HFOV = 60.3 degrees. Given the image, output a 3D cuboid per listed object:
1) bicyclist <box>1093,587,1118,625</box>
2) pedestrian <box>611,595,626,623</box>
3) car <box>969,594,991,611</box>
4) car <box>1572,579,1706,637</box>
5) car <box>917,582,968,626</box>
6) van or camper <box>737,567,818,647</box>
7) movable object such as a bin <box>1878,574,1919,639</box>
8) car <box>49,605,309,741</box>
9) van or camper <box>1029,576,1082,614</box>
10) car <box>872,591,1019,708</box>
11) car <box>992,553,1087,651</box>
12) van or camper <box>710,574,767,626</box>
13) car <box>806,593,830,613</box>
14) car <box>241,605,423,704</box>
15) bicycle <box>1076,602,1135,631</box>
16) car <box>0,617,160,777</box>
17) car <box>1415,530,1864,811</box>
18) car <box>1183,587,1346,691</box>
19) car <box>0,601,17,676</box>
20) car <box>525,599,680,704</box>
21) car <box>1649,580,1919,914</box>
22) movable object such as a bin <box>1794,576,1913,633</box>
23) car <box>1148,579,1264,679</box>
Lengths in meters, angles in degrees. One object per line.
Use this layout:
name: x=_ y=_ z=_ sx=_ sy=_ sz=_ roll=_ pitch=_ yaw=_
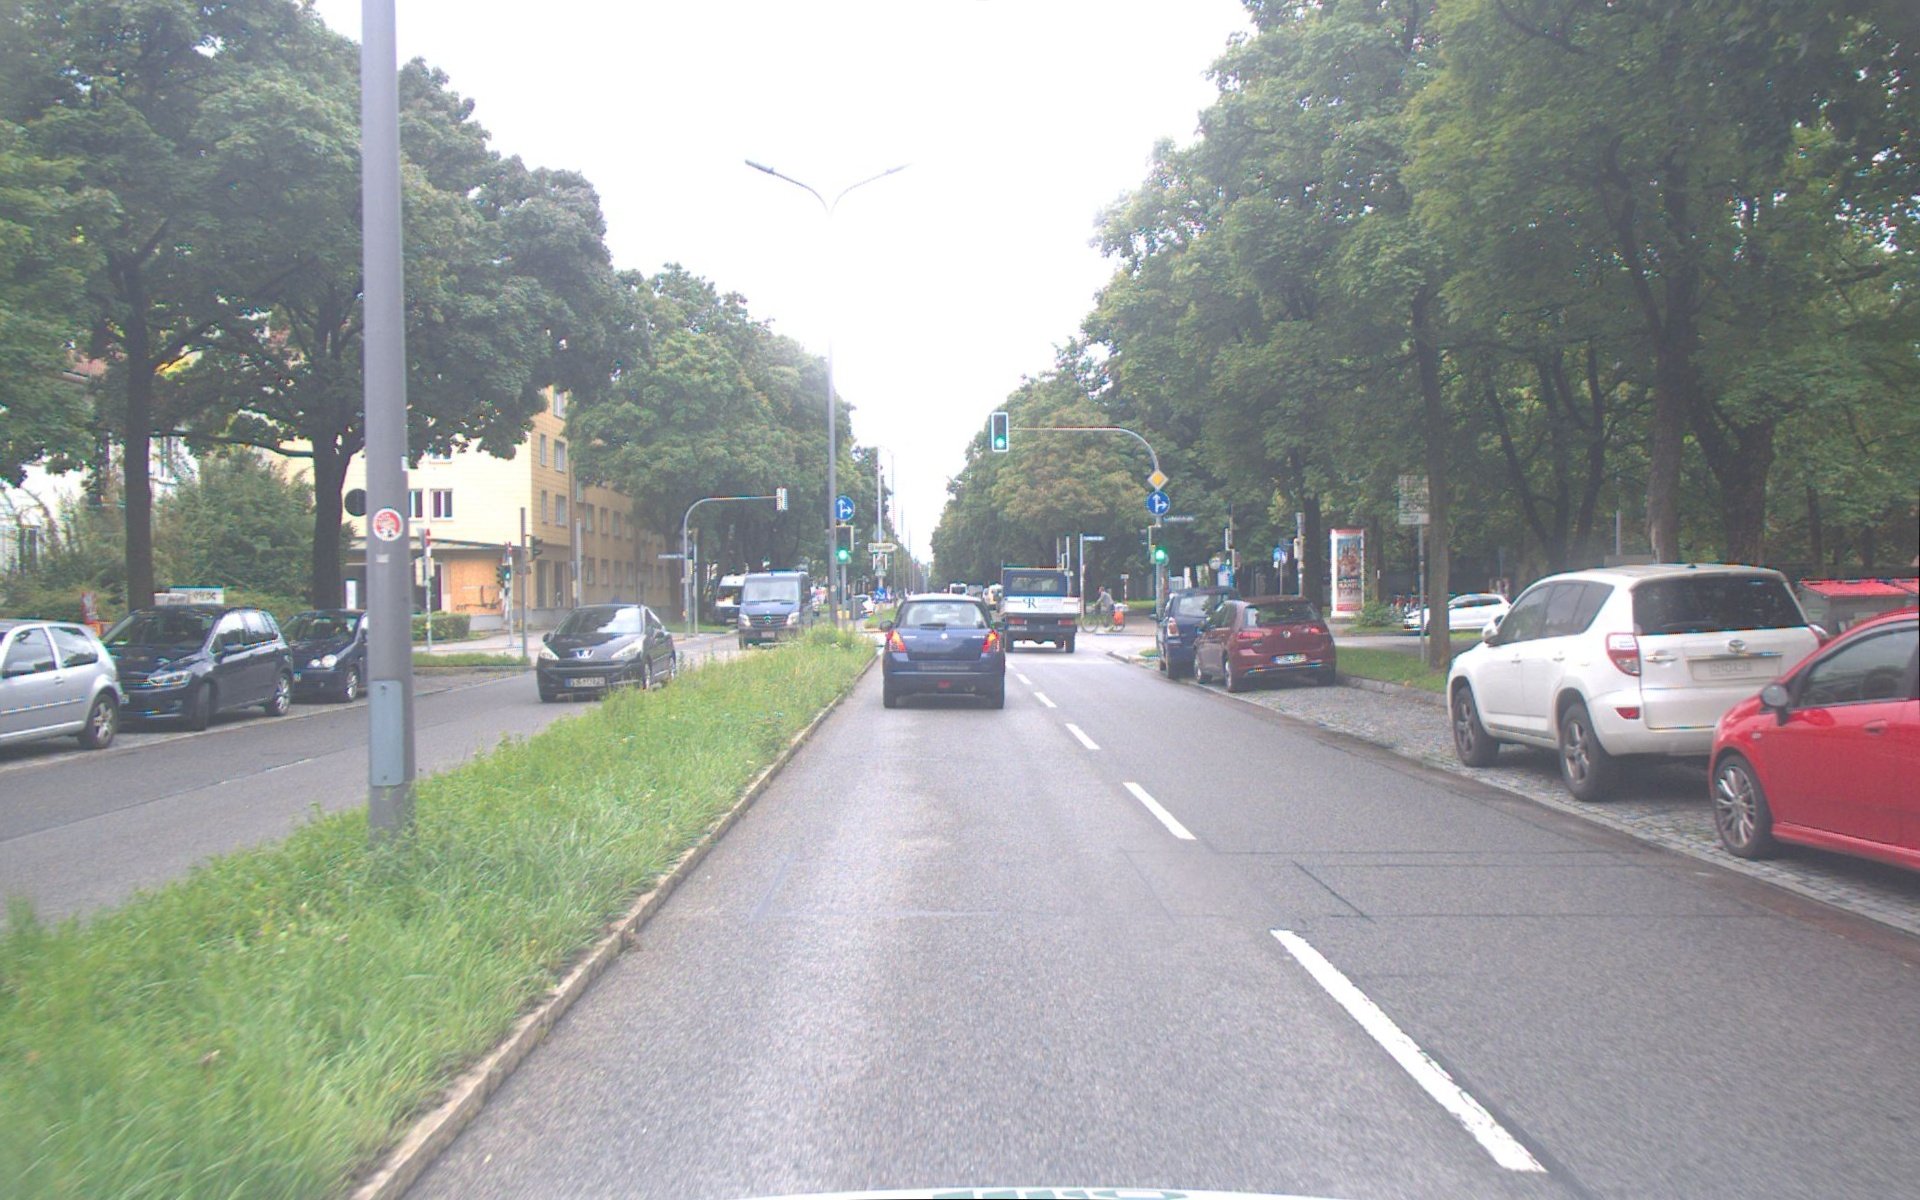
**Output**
bicyclist: x=5.797 y=0.233 z=66.087 sx=0.911 sy=1.505 sz=0.990 roll=0 pitch=0 yaw=0
pedestrian: x=-18.160 y=0.472 z=87.940 sx=0.616 sy=1.465 sz=0.806 roll=1 pitch=0 yaw=-1
car: x=1.877 y=0.232 z=155.791 sx=1.751 sy=1.525 sz=3.657 roll=0 pitch=0 yaw=-4
car: x=23.466 y=0.251 z=57.310 sx=3.799 sy=1.638 sz=1.934 roll=-5 pitch=0 yaw=6
car: x=-0.648 y=0.142 z=59.842 sx=1.762 sy=1.525 sz=3.659 roll=1 pitch=0 yaw=-1
van or camper: x=-5.574 y=0.187 z=51.235 sx=1.982 sy=2.300 sz=6.020 roll=-2 pitch=0 yaw=-2
movable object such as a bin: x=23.521 y=0.128 z=39.599 sx=2.019 sy=1.512 sz=1.837 roll=-1 pitch=0 yaw=-1
car: x=-10.321 y=0.893 z=22.217 sx=1.633 sy=1.589 sz=4.296 roll=-1 pitch=0 yaw=-3
van or camper: x=4.741 y=-0.242 z=82.382 sx=2.083 sy=1.825 sz=4.504 roll=0 pitch=0 yaw=-4
car: x=-0.287 y=0.636 z=23.331 sx=1.859 sy=1.525 sz=3.657 roll=0 pitch=0 yaw=-4
car: x=2.090 y=0.034 z=44.818 sx=2.369 sy=2.487 sz=5.087 roll=0 pitch=0 yaw=1
van or camper: x=-11.367 y=-0.023 z=85.390 sx=2.096 sy=2.519 sz=6.258 roll=-2 pitch=0 yaw=-1
car: x=-11.274 y=0.214 z=131.275 sx=1.603 sy=1.467 sz=3.734 roll=-2 pitch=0 yaw=-1
car: x=-10.554 y=0.870 z=28.060 sx=1.532 sy=1.475 sz=3.838 roll=2 pitch=0 yaw=1
bicycle: x=5.809 y=0.662 z=66.087 sx=2.250 sy=1.133 sz=0.996 roll=0 pitch=0 yaw=0
car: x=-10.319 y=0.979 z=17.482 sx=1.632 sy=1.470 sz=4.374 roll=2 pitch=0 yaw=-1
car: x=5.347 y=0.478 z=13.747 sx=1.725 sy=1.862 sz=4.527 roll=-3 pitch=0 yaw=-1
car: x=5.002 y=0.590 z=27.686 sx=1.678 sy=1.449 sz=4.281 roll=-5 pitch=0 yaw=-2
car: x=-20.938 y=0.804 z=32.716 sx=3.561 sy=1.487 sz=1.670 roll=-1 pitch=0 yaw=-4
car: x=-5.603 y=0.759 z=26.377 sx=1.703 sy=1.467 sz=4.101 roll=-2 pitch=0 yaw=-3
car: x=5.411 y=0.690 z=8.698 sx=1.725 sy=1.533 sz=4.142 roll=-3 pitch=0 yaw=-1
movable object such as a bin: x=21.337 y=0.100 z=39.552 sx=2.018 sy=1.285 sz=1.531 roll=-1 pitch=0 yaw=-1
car: x=4.748 y=0.510 z=32.455 sx=1.726 sy=1.686 sz=4.285 roll=-5 pitch=0 yaw=3
